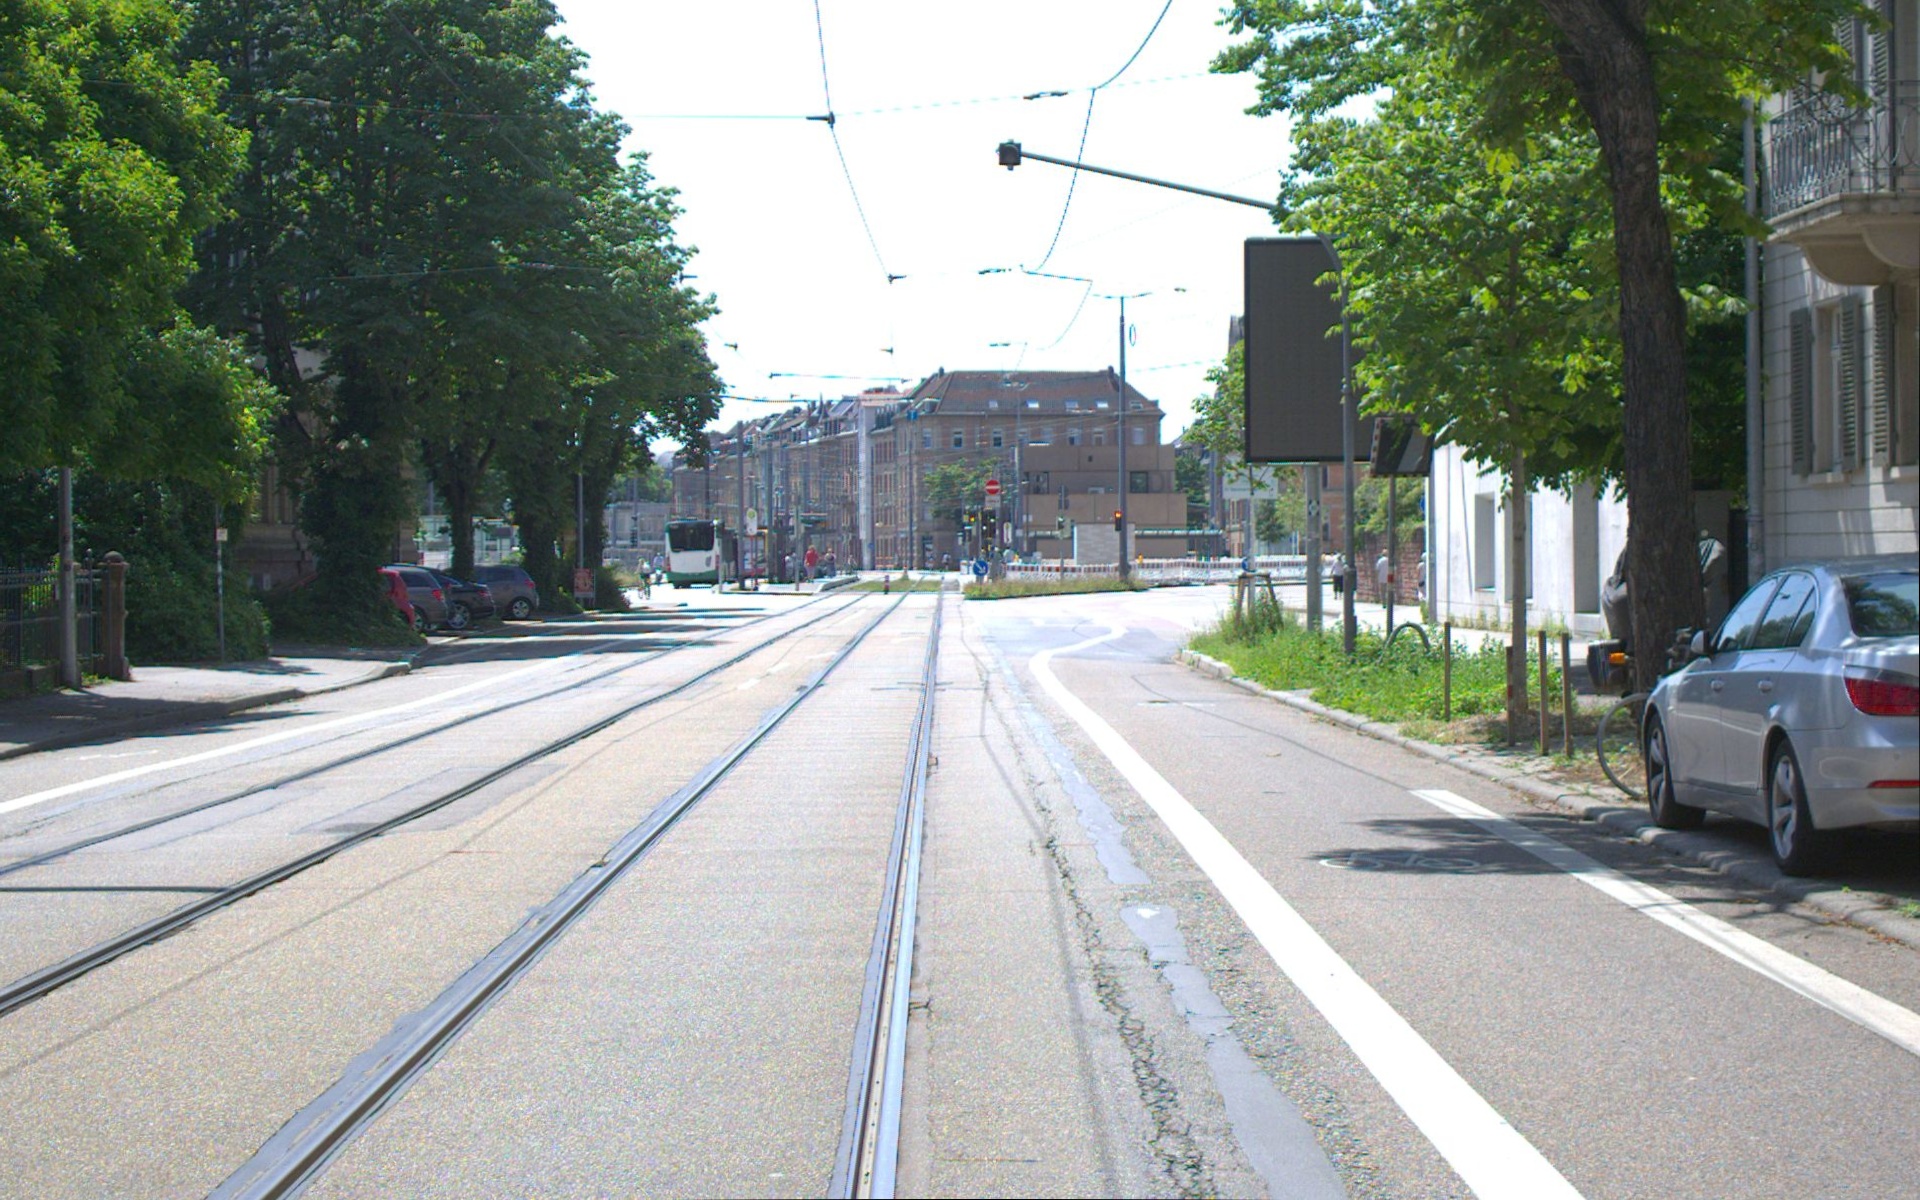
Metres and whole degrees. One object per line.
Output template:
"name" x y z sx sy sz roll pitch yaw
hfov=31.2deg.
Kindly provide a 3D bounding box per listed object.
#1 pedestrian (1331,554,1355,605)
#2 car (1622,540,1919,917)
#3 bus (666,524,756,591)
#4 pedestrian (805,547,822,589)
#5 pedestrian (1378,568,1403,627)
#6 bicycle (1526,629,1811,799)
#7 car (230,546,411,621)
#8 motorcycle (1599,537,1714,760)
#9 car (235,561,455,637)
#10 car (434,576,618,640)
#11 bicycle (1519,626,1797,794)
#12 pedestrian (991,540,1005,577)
"pedestrian" 13.705 -0.723 123.086 0.814 1.802 0.700 -1 1 4
"car" 4.624 0.523 16.785 1.859 1.572 4.877 0 0 0
"bus" -12.195 -2.095 169.967 3.010 3.147 17.498 0 1 1
"pedestrian" -6.795 -1.489 159.653 0.672 1.903 0.641 -1 1 -9
"pedestrian" 12.195 -0.076 97.464 0.661 1.641 0.624 -1 1 5
"bicycle" 4.302 0.688 20.917 1.658 1.012 0.371 0 1 1
"car" -13.113 -0.349 70.473 3.341 1.511 1.670 0 1 -25
"motorcycle" 4.989 0.313 24.657 0.745 1.501 2.557 -1 1 11
"car" -13.131 -0.018 73.472 4.307 1.579 1.669 0 0 -29
"car" -10.142 0.165 80.379 3.920 1.369 1.670 -2 1 -25
"bicycle" 4.347 0.682 21.460 1.658 1.012 0.371 0 2 1
"pedestrian" 1.733 -1.866 155.636 0.526 1.669 0.752 0 0 -7
